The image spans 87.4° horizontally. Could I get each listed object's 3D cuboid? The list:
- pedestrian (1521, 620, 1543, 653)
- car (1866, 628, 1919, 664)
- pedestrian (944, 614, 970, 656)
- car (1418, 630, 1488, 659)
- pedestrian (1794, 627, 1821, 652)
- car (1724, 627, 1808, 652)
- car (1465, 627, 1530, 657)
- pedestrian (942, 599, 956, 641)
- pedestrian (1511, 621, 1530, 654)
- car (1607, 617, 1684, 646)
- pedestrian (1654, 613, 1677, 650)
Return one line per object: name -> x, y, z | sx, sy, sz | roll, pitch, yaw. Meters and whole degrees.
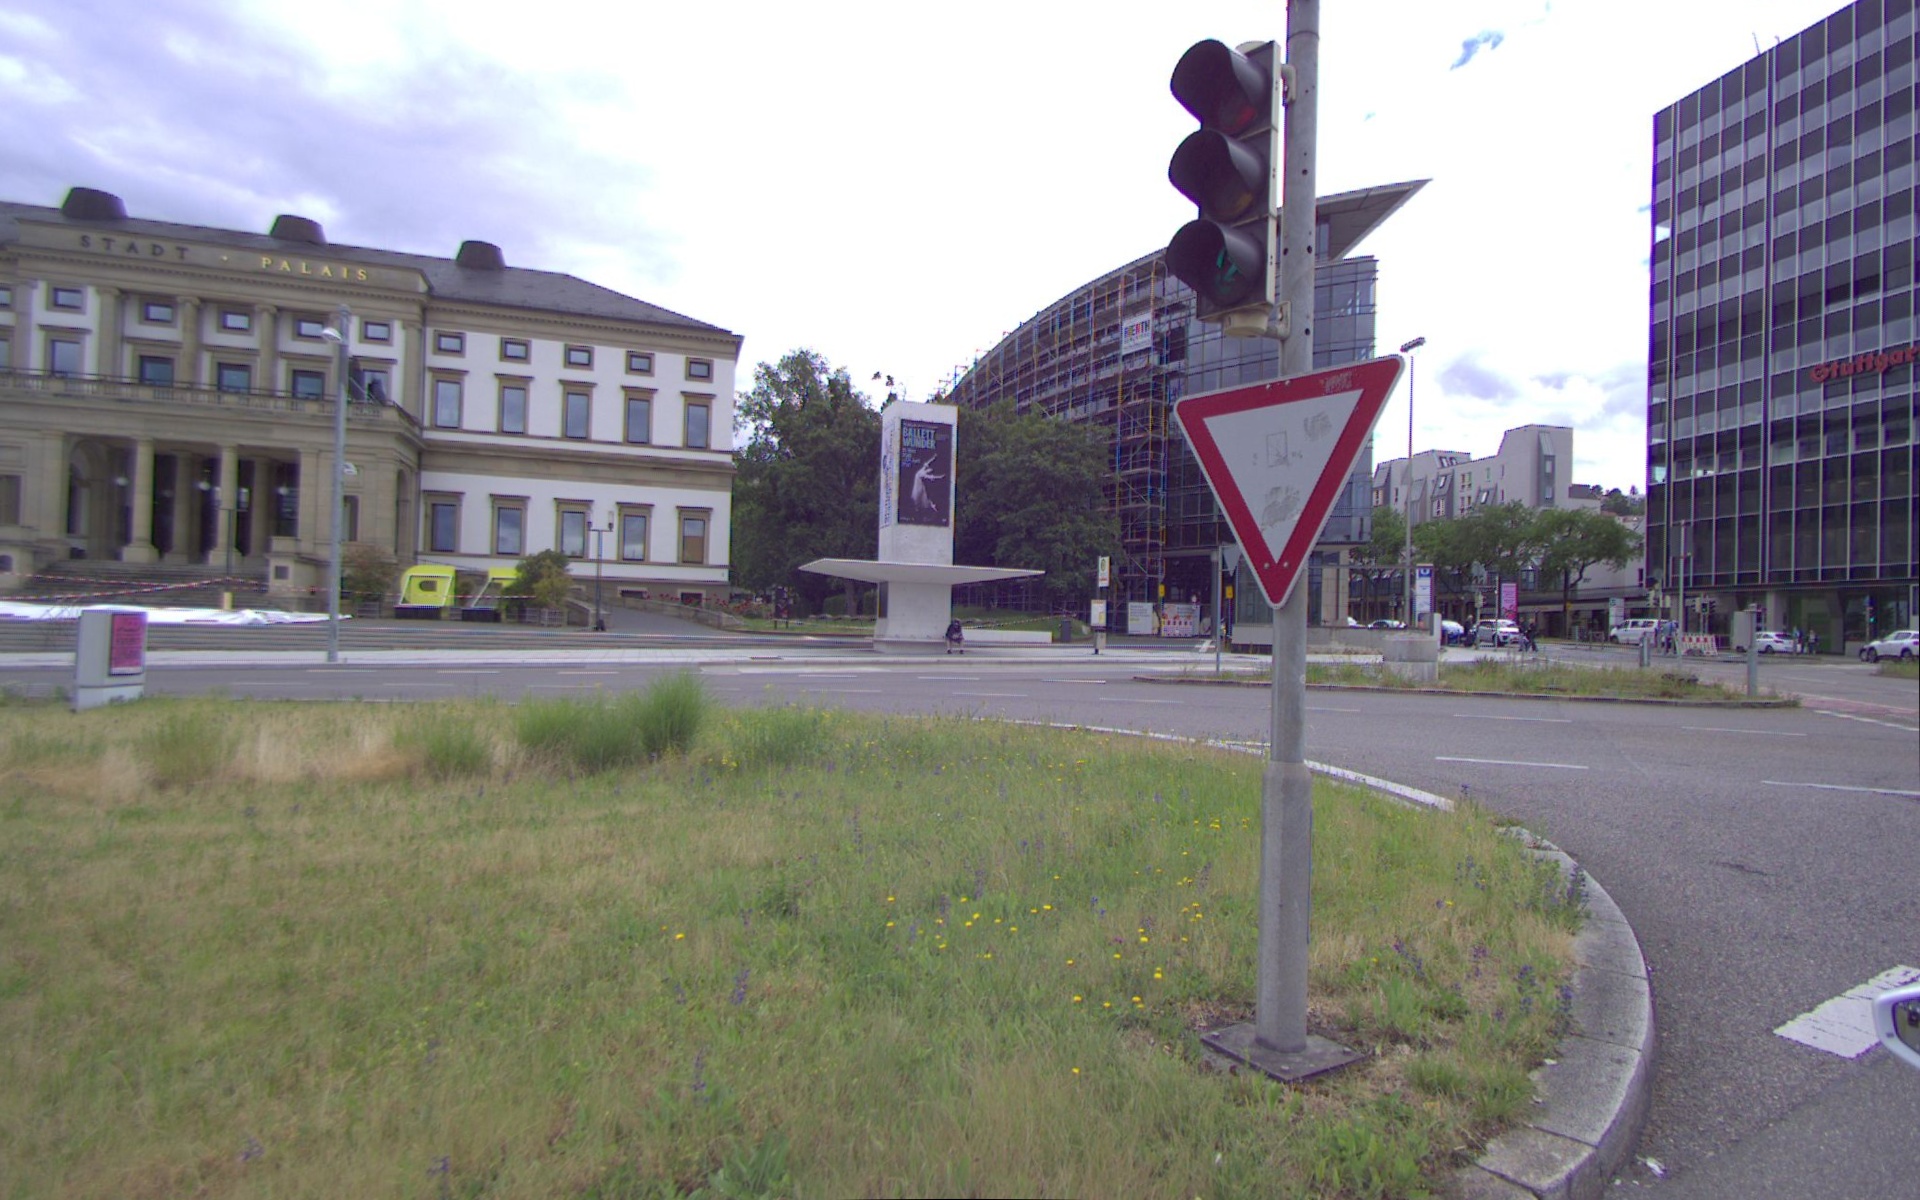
pedestrian -> 30.265, 1.931, 53.132 | 0.754, 1.723, 0.632 | 2, 0, -2
car -> 45.095, 2.182, 47.639 | 1.801, 1.587, 3.768 | 1, -1, 19
pedestrian -> -0.099, 1.185, 34.142 | 0.747, 1.370, 0.704 | 1, 0, -12
car -> 30.035, 2.705, 61.355 | 1.962, 1.545, 4.088 | 2, -1, -5
pedestrian -> 57.173, 2.647, 67.769 | 1.048, 1.655, 0.960 | 1, 0, -13
car -> 51.293, 2.502, 64.027 | 2.021, 1.437, 4.335 | 1, 0, 3
car -> 32.799, 2.541, 61.454 | 1.705, 1.620, 4.319 | 2, -1, 1
pedestrian -> -0.495, 0.896, 44.721 | 0.584, 1.837, 0.603 | 1, 0, -3
pedestrian -> 30.068, 2.027, 53.861 | 0.631, 1.723, 0.632 | 2, 0, -2
car -> 47.932, 2.170, 70.366 | 1.803, 1.899, 4.867 | 1, -1, -5
pedestrian -> 35.297, 1.560, 50.277 | 0.704, 1.814, 0.634 | 1, 0, -7
